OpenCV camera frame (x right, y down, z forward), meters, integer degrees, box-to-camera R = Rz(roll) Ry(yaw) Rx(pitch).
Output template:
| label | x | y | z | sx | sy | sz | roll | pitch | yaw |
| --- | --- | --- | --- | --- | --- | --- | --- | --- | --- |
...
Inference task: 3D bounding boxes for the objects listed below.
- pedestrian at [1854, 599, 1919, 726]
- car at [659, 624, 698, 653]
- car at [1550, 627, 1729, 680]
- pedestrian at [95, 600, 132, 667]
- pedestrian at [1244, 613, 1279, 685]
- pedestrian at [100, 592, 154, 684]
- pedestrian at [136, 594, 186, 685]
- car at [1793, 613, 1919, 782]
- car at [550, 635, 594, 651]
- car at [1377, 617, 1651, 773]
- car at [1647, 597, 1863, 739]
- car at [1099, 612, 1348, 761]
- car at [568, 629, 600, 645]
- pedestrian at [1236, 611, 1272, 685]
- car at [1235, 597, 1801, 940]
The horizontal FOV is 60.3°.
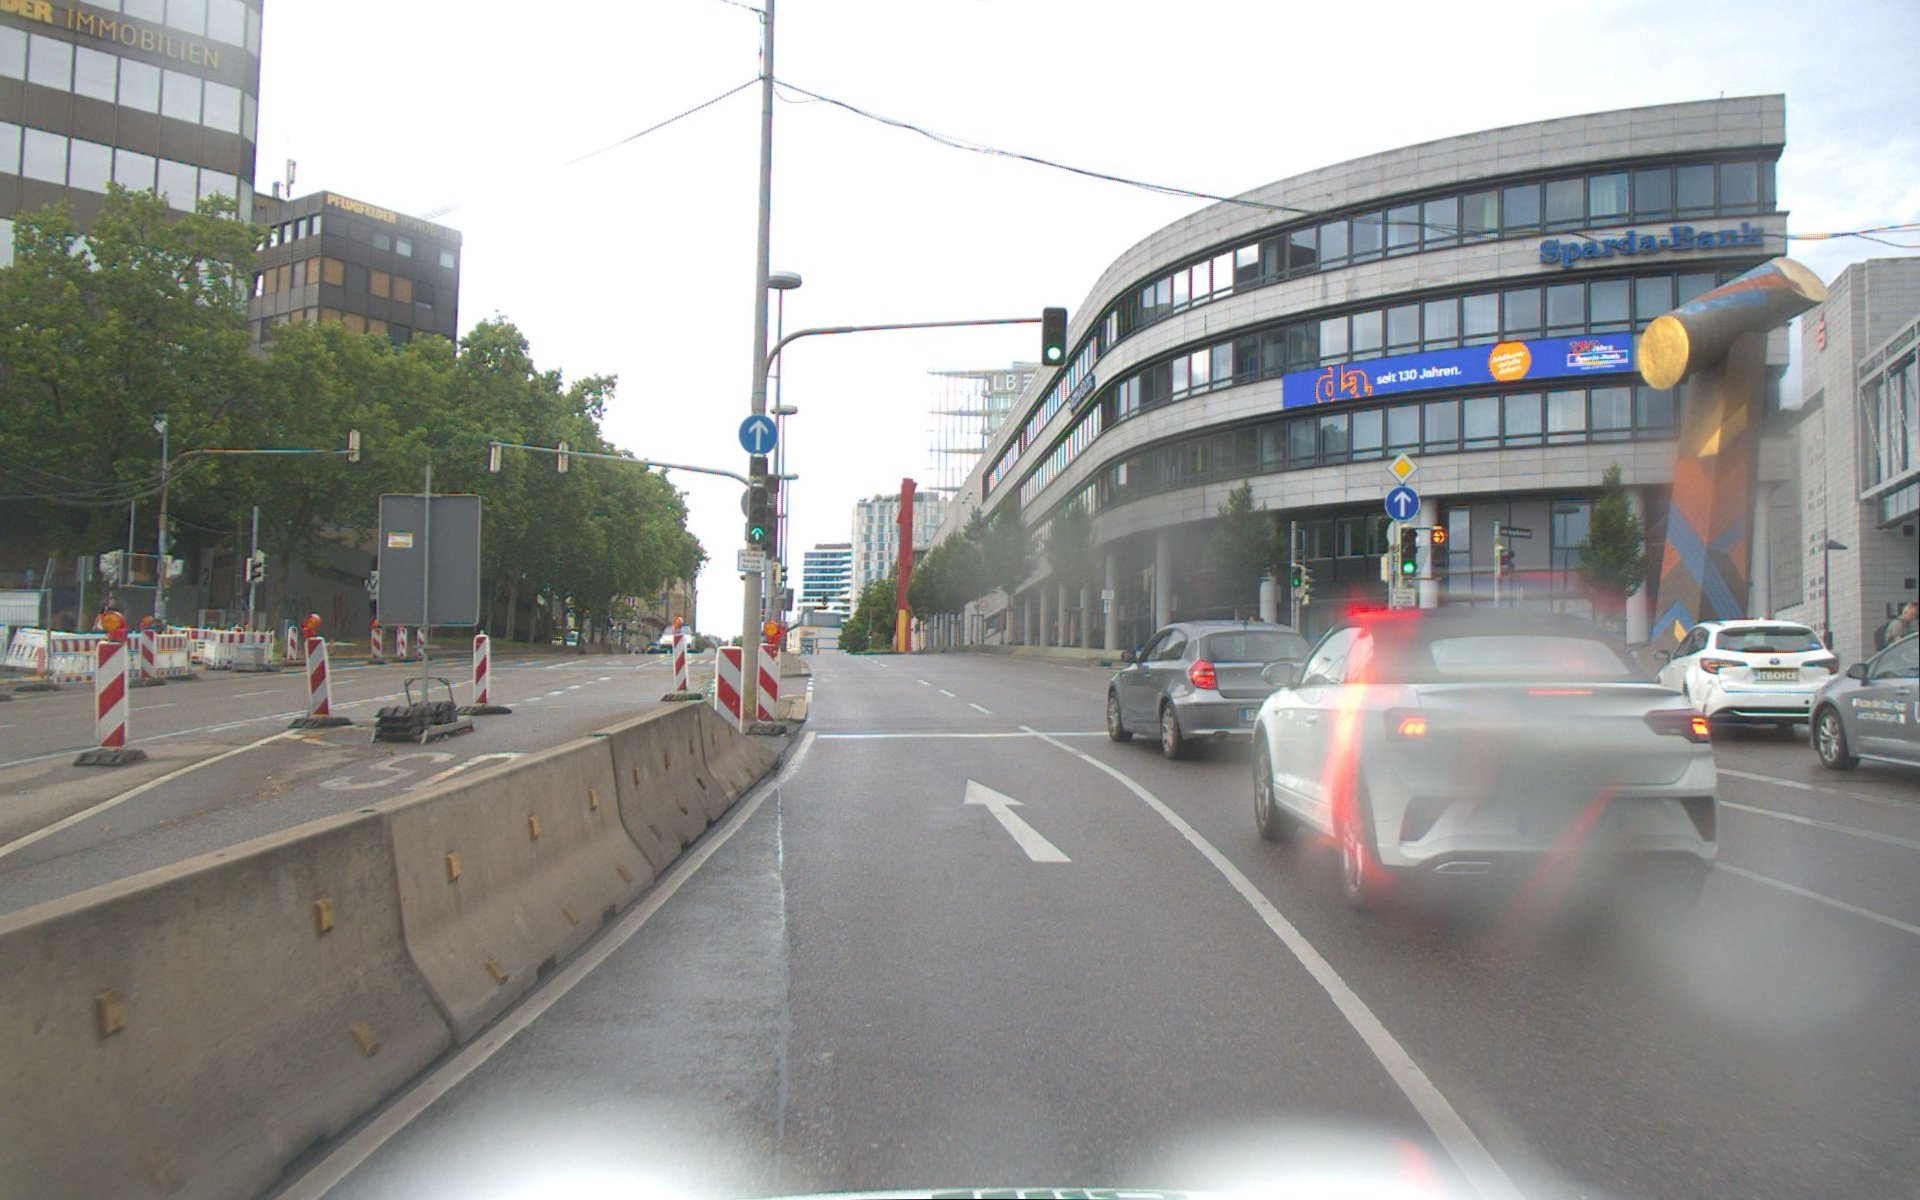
| label | x | y | z | sx | sy | sz | roll | pitch | yaw |
| --- | --- | --- | --- | --- | --- | --- | --- | --- | --- |
| pedestrian | 16.135 | 1.076 | 28.530 | 0.842 | 2.135 | 0.896 | 3 | -2 | -28 |
| car | -15.085 | 2.033 | 88.851 | 1.727 | 1.486 | 4.354 | -1 | -1 | -6 |
| car | 20.139 | 1.603 | 49.176 | 4.599 | 1.467 | 1.868 | 1 | -3 | 6 |
| pedestrian | -24.324 | 0.972 | 47.513 | 0.728 | 1.913 | 0.744 | 1 | -3 | -15 |
| pedestrian | 8.231 | 1.335 | 45.121 | 0.823 | 1.938 | 0.732 | -1 | -2 | 21 |
| pedestrian | -18.098 | 0.834 | 35.942 | 0.746 | 1.956 | 0.741 | 1 | -3 | -3 |
| pedestrian | -17.360 | 0.863 | 35.936 | 0.658 | 1.935 | 0.775 | 1 | -3 | -3 |
| car | 9.250 | 0.872 | 14.594 | 1.665 | 1.477 | 4.616 | 1 | -2 | 3 |
| car | -40.511 | 4.507 | 172.879 | 1.787 | 1.537 | 4.565 | -3 | -4 | 32 |
| car | 5.930 | 0.993 | 18.239 | 1.718 | 1.432 | 4.228 | -3 | -2 | 3 |
| car | 10.304 | 0.828 | 21.764 | 1.733 | 1.663 | 4.584 | 0 | -1 | 15 |
| car | 2.799 | 0.903 | 18.429 | 1.706 | 1.468 | 3.993 | 1 | -1 | -7 |
| car | -45.395 | 4.486 | 199.574 | 3.561 | 1.731 | 1.821 | -1 | -3 | -9 |
| pedestrian | 7.863 | 1.298 | 44.206 | 0.823 | 1.938 | 0.861 | -1 | -3 | 21 |
| car | 2.944 | 0.810 | 9.787 | 1.924 | 1.576 | 4.218 | 1 | -1 | 0 |
